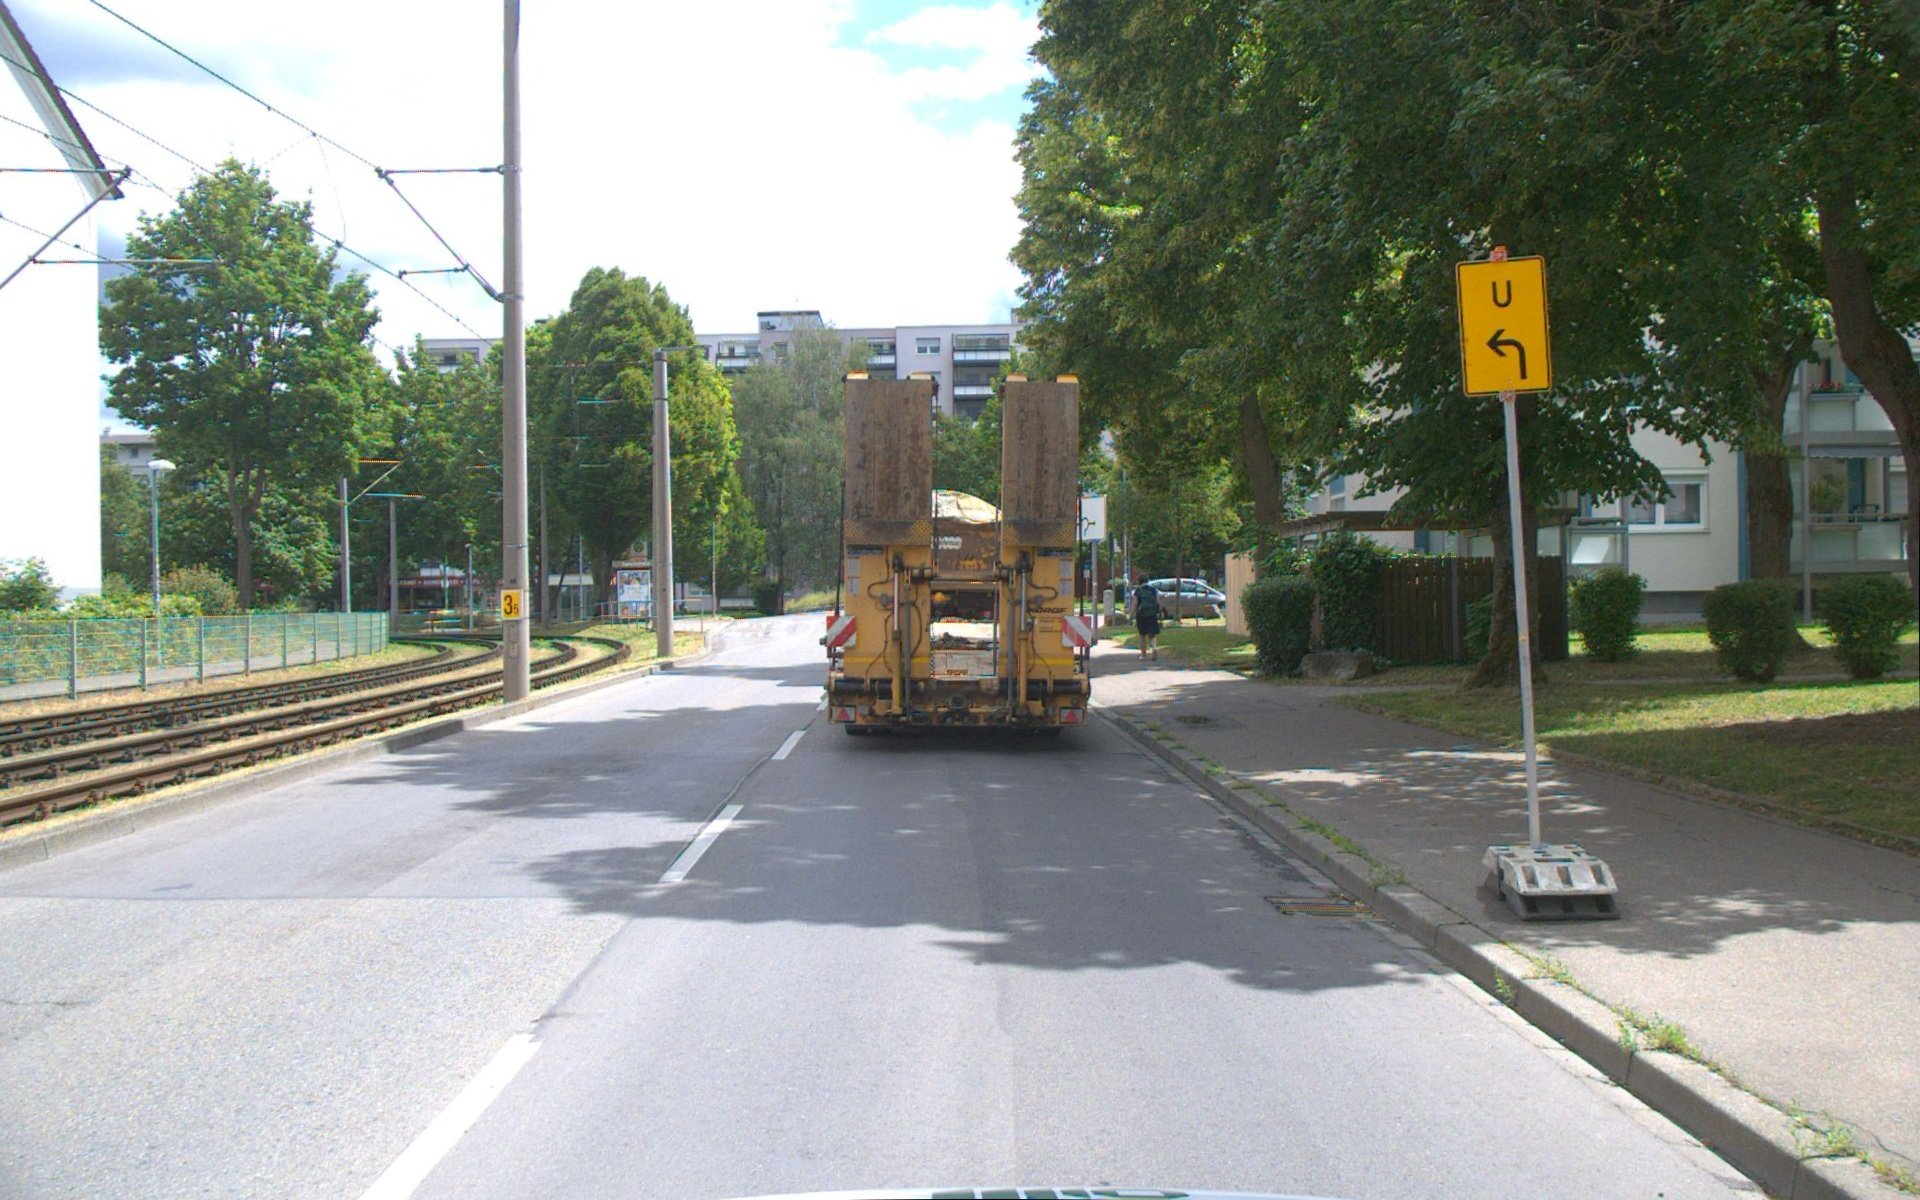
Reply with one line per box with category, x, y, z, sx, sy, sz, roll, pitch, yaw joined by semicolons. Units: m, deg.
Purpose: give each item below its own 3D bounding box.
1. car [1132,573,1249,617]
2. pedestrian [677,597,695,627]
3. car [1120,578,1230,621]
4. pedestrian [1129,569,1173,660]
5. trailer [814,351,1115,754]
car;8.506;-0.184;61.073;3.918;1.588;1.754;1;0;-13
pedestrian;-18.734;0.818;113.005;0.898;2.049;0.952;1;0;-32
car;8.368;-0.019;64.530;3.918;1.588;1.754;1;0;-13
pedestrian;3.729;0.275;32.381;0.703;1.736;0.766;-2;1;-1
trailer;-0.031;-0.488;21.575;2.770;3.709;12.352;1;0;-1
